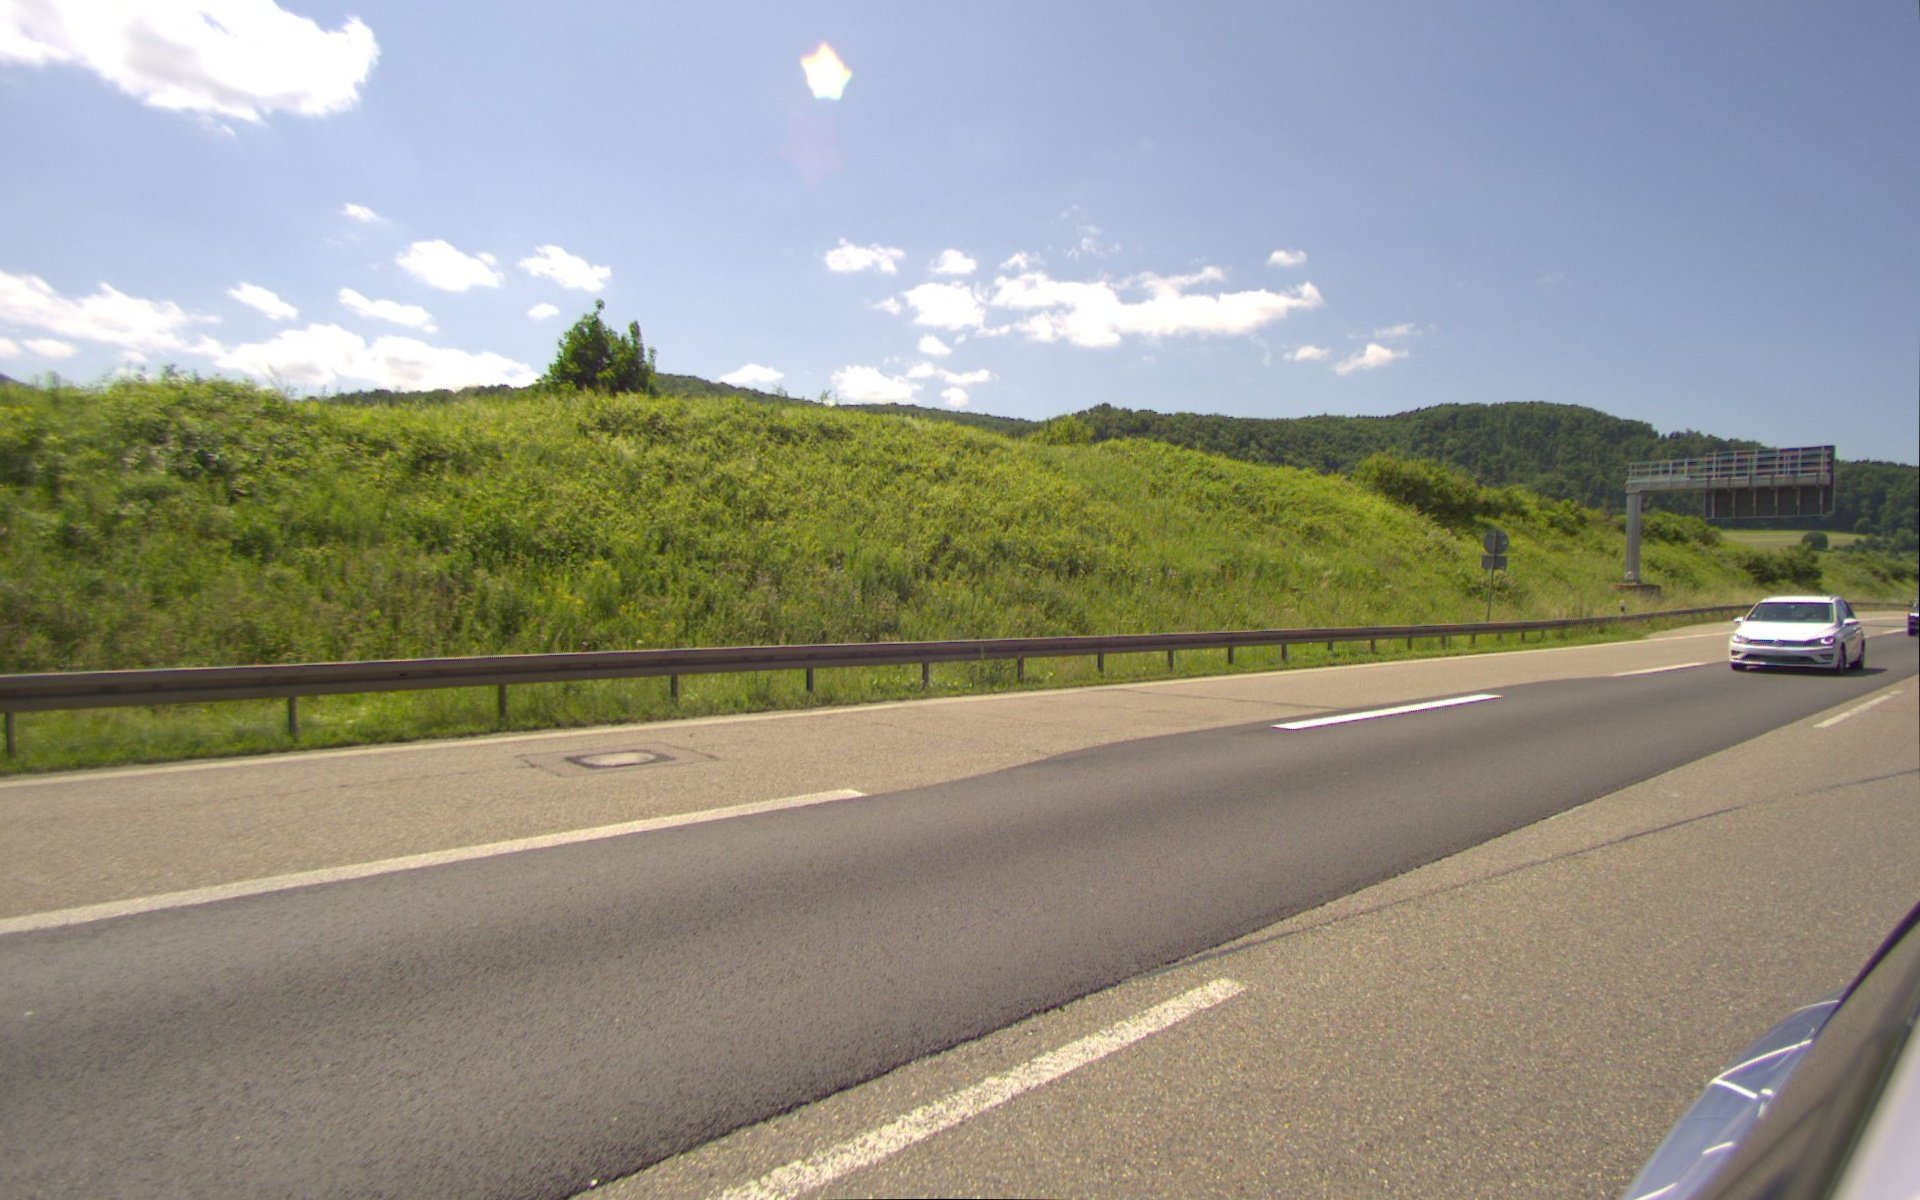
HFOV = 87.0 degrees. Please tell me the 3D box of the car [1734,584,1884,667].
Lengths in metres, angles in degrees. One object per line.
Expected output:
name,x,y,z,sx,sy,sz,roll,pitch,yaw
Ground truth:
car,17.642,0.449,20.980,3.983,1.560,1.776,-1,0,-41
